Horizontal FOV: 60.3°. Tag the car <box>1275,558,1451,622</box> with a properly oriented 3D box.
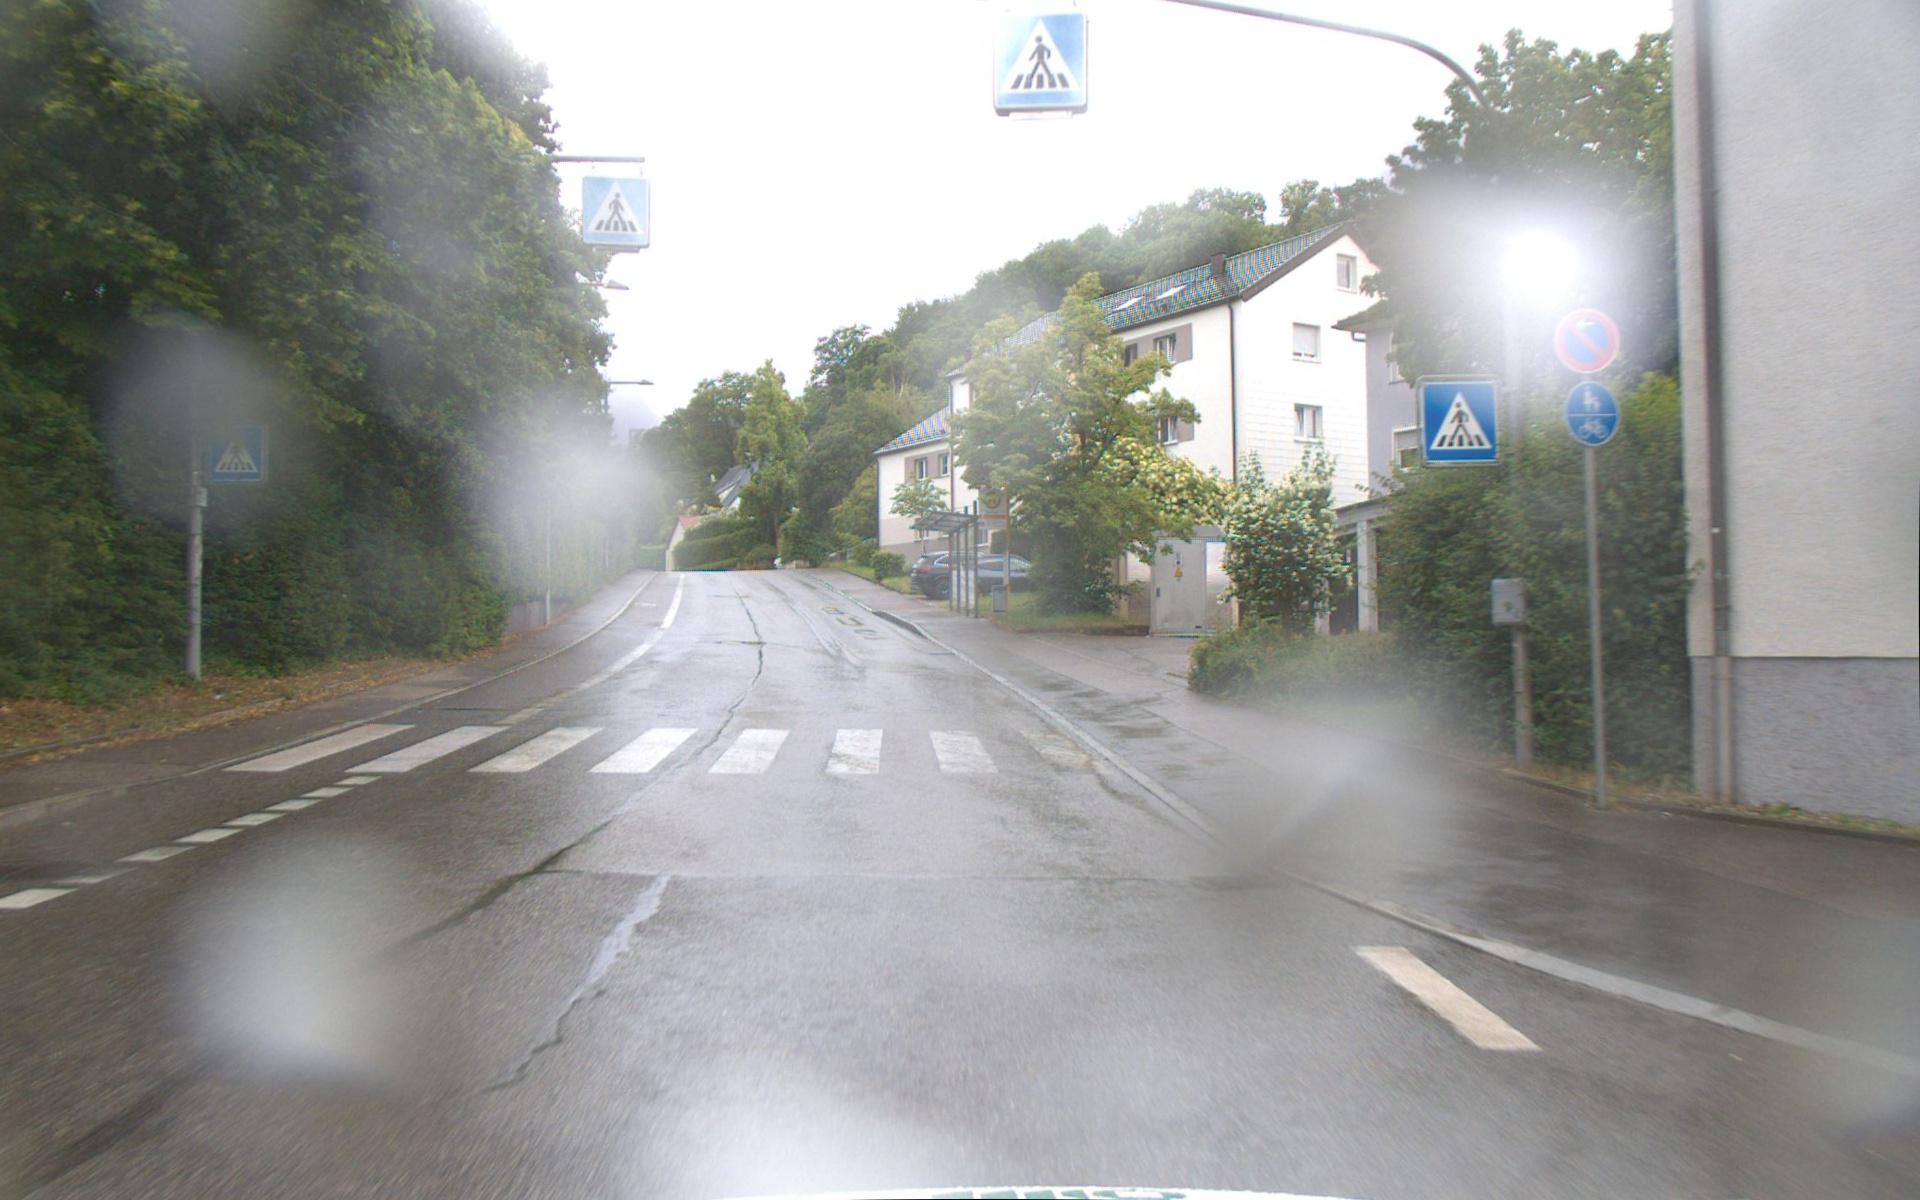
[{"bbox_3d":[9.516,-0.221,39.187,3.631,1.456,1.793,0,-1,-9],"label":"car"}]

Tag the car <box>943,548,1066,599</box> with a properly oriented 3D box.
[{"bbox_3d":[1.416,-0.869,53.191,3.676,1.483,1.721,-1,3,-11],"label":"car"}]

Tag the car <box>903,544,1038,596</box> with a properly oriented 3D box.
[{"bbox_3d":[0.367,-1.067,58.241,4.452,1.689,1.849,-1,3,-16],"label":"car"}]
